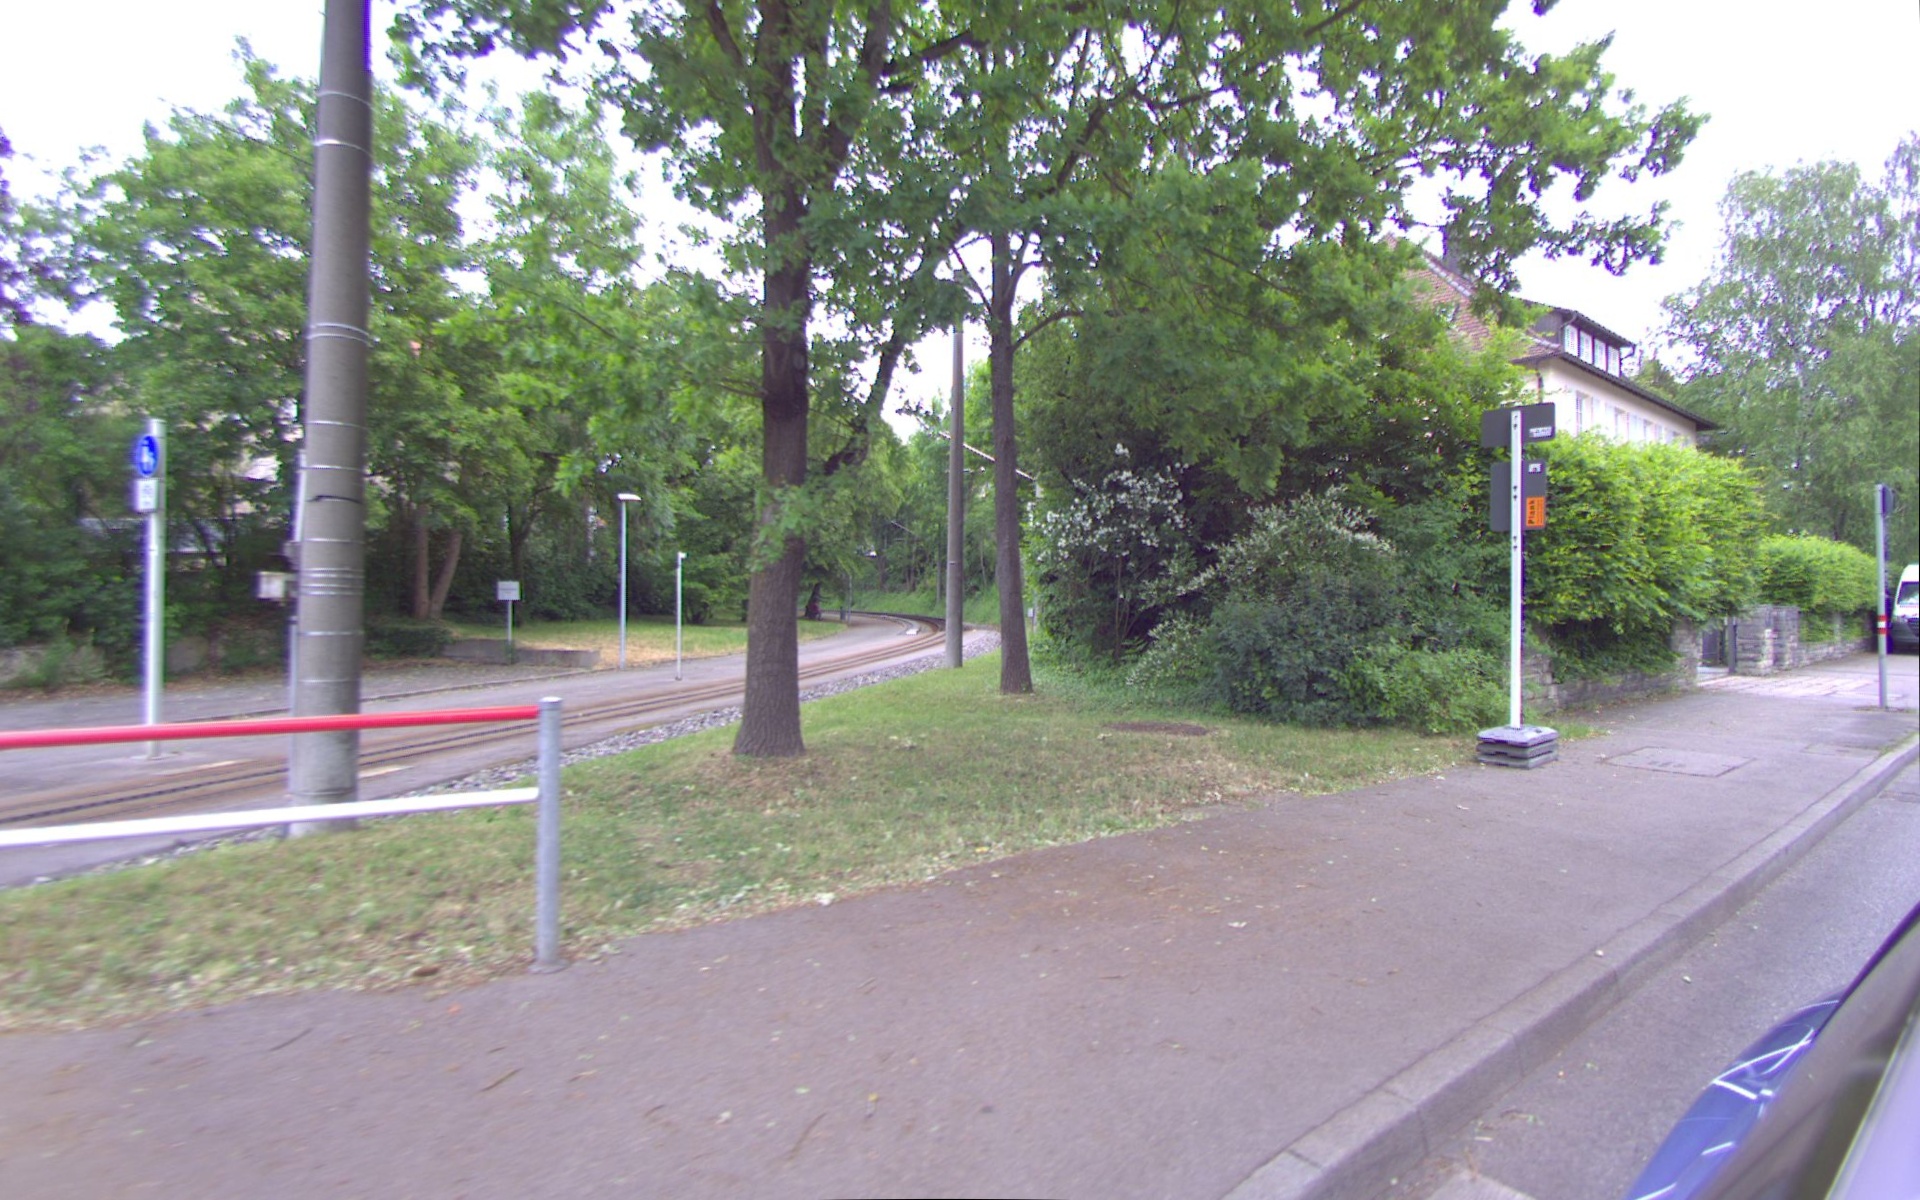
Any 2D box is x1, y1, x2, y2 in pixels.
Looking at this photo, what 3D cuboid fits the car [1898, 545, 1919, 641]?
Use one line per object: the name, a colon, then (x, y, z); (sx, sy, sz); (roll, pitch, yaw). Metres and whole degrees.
car: (29.087, -0.191, 29.512); (6.569, 2.637, 2.092); (0, 0, -43)
